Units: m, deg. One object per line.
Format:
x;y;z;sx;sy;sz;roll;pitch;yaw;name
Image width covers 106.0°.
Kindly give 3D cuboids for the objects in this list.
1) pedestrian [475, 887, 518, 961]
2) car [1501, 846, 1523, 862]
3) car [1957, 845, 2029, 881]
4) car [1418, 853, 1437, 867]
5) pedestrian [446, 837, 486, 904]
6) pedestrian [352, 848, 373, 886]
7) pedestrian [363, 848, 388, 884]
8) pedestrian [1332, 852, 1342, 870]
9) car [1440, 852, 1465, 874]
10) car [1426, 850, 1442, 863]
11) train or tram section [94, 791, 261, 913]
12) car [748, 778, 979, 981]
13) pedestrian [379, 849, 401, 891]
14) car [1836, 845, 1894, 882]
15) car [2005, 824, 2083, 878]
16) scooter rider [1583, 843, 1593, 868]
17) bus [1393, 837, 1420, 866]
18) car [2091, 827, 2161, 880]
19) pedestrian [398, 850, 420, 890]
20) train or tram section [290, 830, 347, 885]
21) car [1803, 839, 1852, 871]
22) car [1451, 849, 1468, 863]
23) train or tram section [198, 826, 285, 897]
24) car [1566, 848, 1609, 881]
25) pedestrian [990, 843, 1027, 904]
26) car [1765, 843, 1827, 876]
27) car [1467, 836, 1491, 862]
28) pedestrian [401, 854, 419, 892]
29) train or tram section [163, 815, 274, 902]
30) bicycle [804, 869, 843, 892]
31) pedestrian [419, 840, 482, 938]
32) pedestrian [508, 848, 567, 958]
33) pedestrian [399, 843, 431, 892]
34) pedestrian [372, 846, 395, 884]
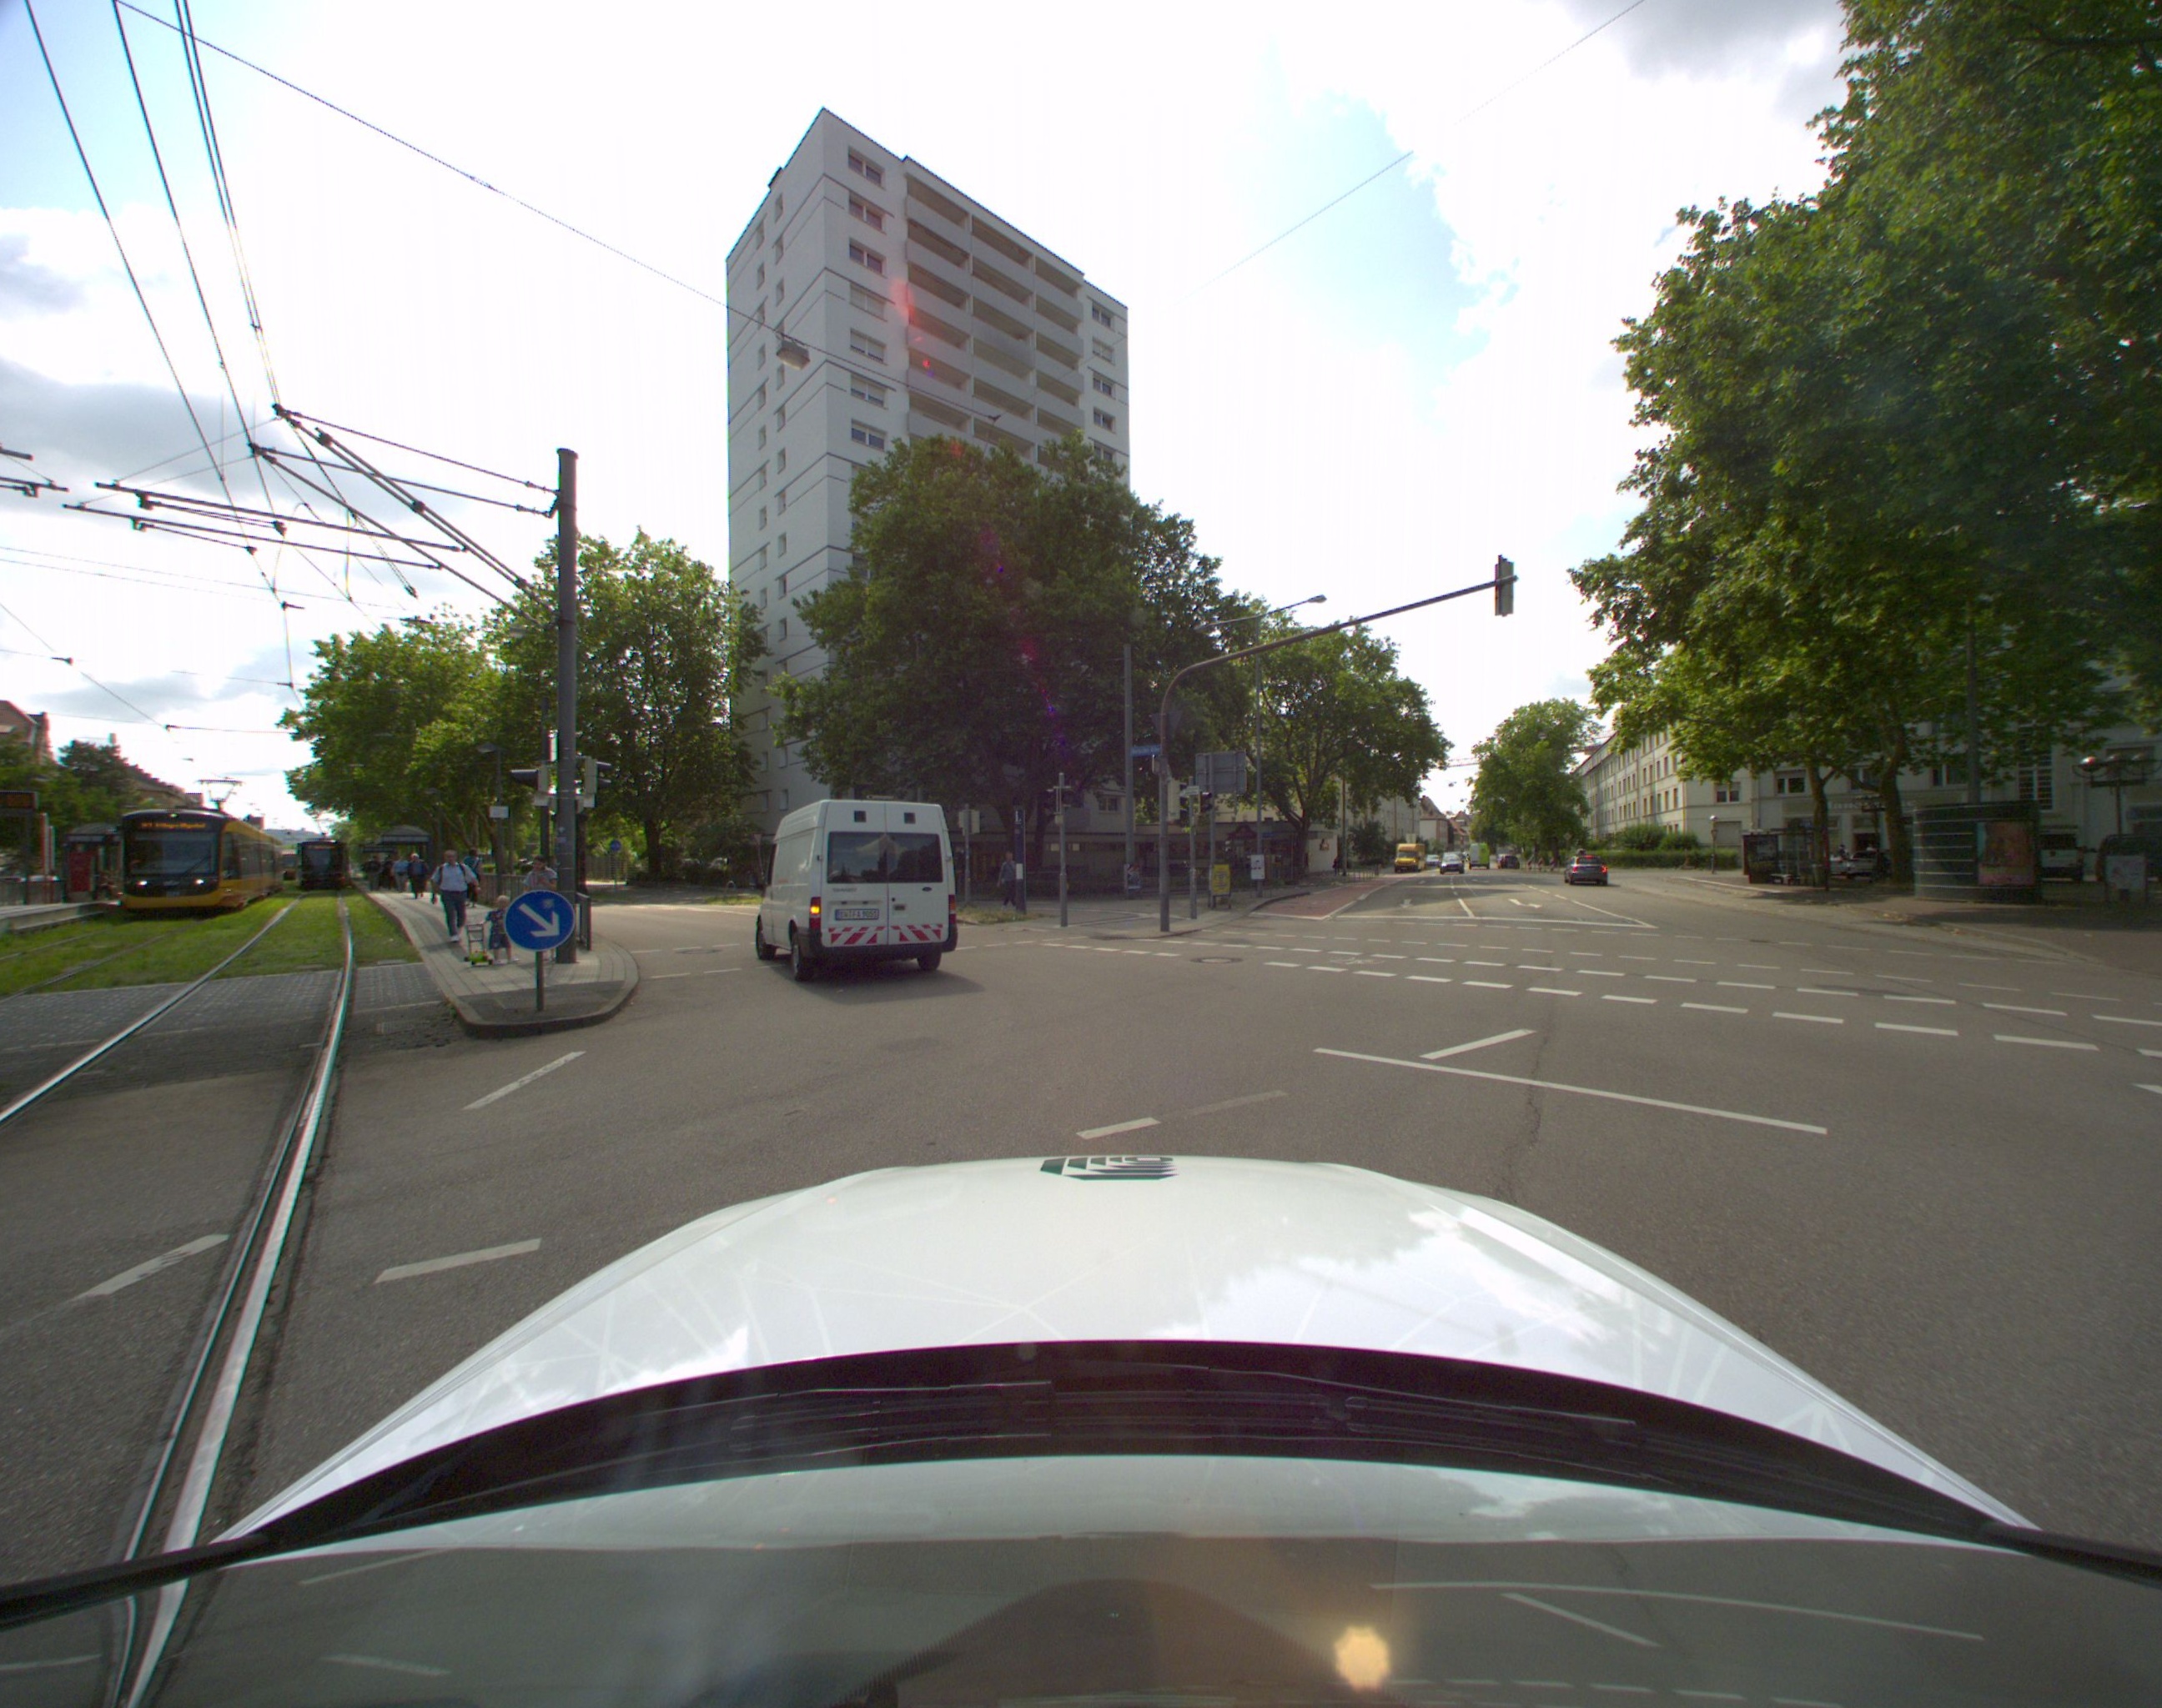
-8.910;1.055;12.424;0.421;1.063;0.433;-1;0;-23;pedestrian
43.712;-0.010;82.592;1.709;1.554;3.654;-2;0;25;car
37.524;0.367;33.569;1.451;1.389;3.086;-2;0;39;car
41.108;0.749;96.541;1.828;1.562;4.023;-2;0;26;car
-17.888;0.460;23.685;0.834;1.899;0.836;-1;-1;-43;pedestrian
-35.225;0.646;39.913;0.718;1.801;1.118;-1;0;-43;pedestrian
-36.260;0.641;41.854;0.894;1.801;1.476;-1;0;-43;pedestrian
21.103;0.599;67.143;0.662;1.479;0.579;-1;0;32;pedestrian
30.733;0.760;67.277;1.770;1.661;4.341;-2;0;26;car
47.194;0.370;108.938;1.712;1.661;3.772;-2;0;27;car
-32.304;0.038;29.638;2.832;3.584;12.857;-1;-1;-43;train or tram section
-3.388;0.276;11.882;2.060;2.333;4.668;-2;0;-30;car
-31.650;0.734;37.296;0.707;1.849;0.897;-1;-1;-43;pedestrian
38.619;0.430;40.070;4.565;1.690;1.888;-1;-1;-44;car
41.457;-0.143;35.151;4.281;2.183;1.976;-1;0;-42;car
36.774;0.094;59.085;0.521;1.812;0.652;-2;0;23;scooter rider
32.511;-0.273;81.329;2.373;2.709;6.404;-2;0;22;bus
43.413;-0.033;33.571;4.022;2.076;1.976;-1;0;-42;car
-31.128;0.734;37.726;0.707;1.849;0.779;-1;-1;-43;pedestrian
-54.861;0.342;58.732;2.748;3.584;12.857;-1;-1;-43;train or tram section
44.646;0.060;48.666;1.888;1.796;4.748;-2;-1;45;car
49.659;0.271;106.916;1.844;1.661;3.772;-2;0;27;car
-47.910;0.502;46.771;2.748;3.584;12.857;-1;-1;-43;train or tram section
25.997;0.542;41.874;1.675;1.538;3.490;-2;1;29;car
-2.164;0.572;24.367;0.698;1.783;0.876;-1;0;-40;pedestrian
36.539;0.264;41.596;4.565;1.600;2.009;-1;-1;-44;car
41.919;-0.580;85.780;2.100;2.641;6.365;-2;0;25;car
-34.121;0.968;41.432;0.531;1.900;0.474;-2;0;23;pedestrian
-40.137;0.266;38.205;2.821;3.584;10.277;-1;-1;-43;train or tram section
-12.208;1.259;38.600;1.726;1.009;0.531;-1;0;-16;bicycle
-12.116;0.649;15.636;0.856;1.780;1.032;-1;0;-42;pedestrian
-8.617;0.757;12.937;0.626;1.666;0.671;-1;0;-23;pedestrian
-24.966;0.498;30.541;0.865;1.775;0.866;-1;-1;-43;pedestrian
-34.955;0.563;40.799;0.818;1.872;1.018;-1;0;-43;pedestrian
